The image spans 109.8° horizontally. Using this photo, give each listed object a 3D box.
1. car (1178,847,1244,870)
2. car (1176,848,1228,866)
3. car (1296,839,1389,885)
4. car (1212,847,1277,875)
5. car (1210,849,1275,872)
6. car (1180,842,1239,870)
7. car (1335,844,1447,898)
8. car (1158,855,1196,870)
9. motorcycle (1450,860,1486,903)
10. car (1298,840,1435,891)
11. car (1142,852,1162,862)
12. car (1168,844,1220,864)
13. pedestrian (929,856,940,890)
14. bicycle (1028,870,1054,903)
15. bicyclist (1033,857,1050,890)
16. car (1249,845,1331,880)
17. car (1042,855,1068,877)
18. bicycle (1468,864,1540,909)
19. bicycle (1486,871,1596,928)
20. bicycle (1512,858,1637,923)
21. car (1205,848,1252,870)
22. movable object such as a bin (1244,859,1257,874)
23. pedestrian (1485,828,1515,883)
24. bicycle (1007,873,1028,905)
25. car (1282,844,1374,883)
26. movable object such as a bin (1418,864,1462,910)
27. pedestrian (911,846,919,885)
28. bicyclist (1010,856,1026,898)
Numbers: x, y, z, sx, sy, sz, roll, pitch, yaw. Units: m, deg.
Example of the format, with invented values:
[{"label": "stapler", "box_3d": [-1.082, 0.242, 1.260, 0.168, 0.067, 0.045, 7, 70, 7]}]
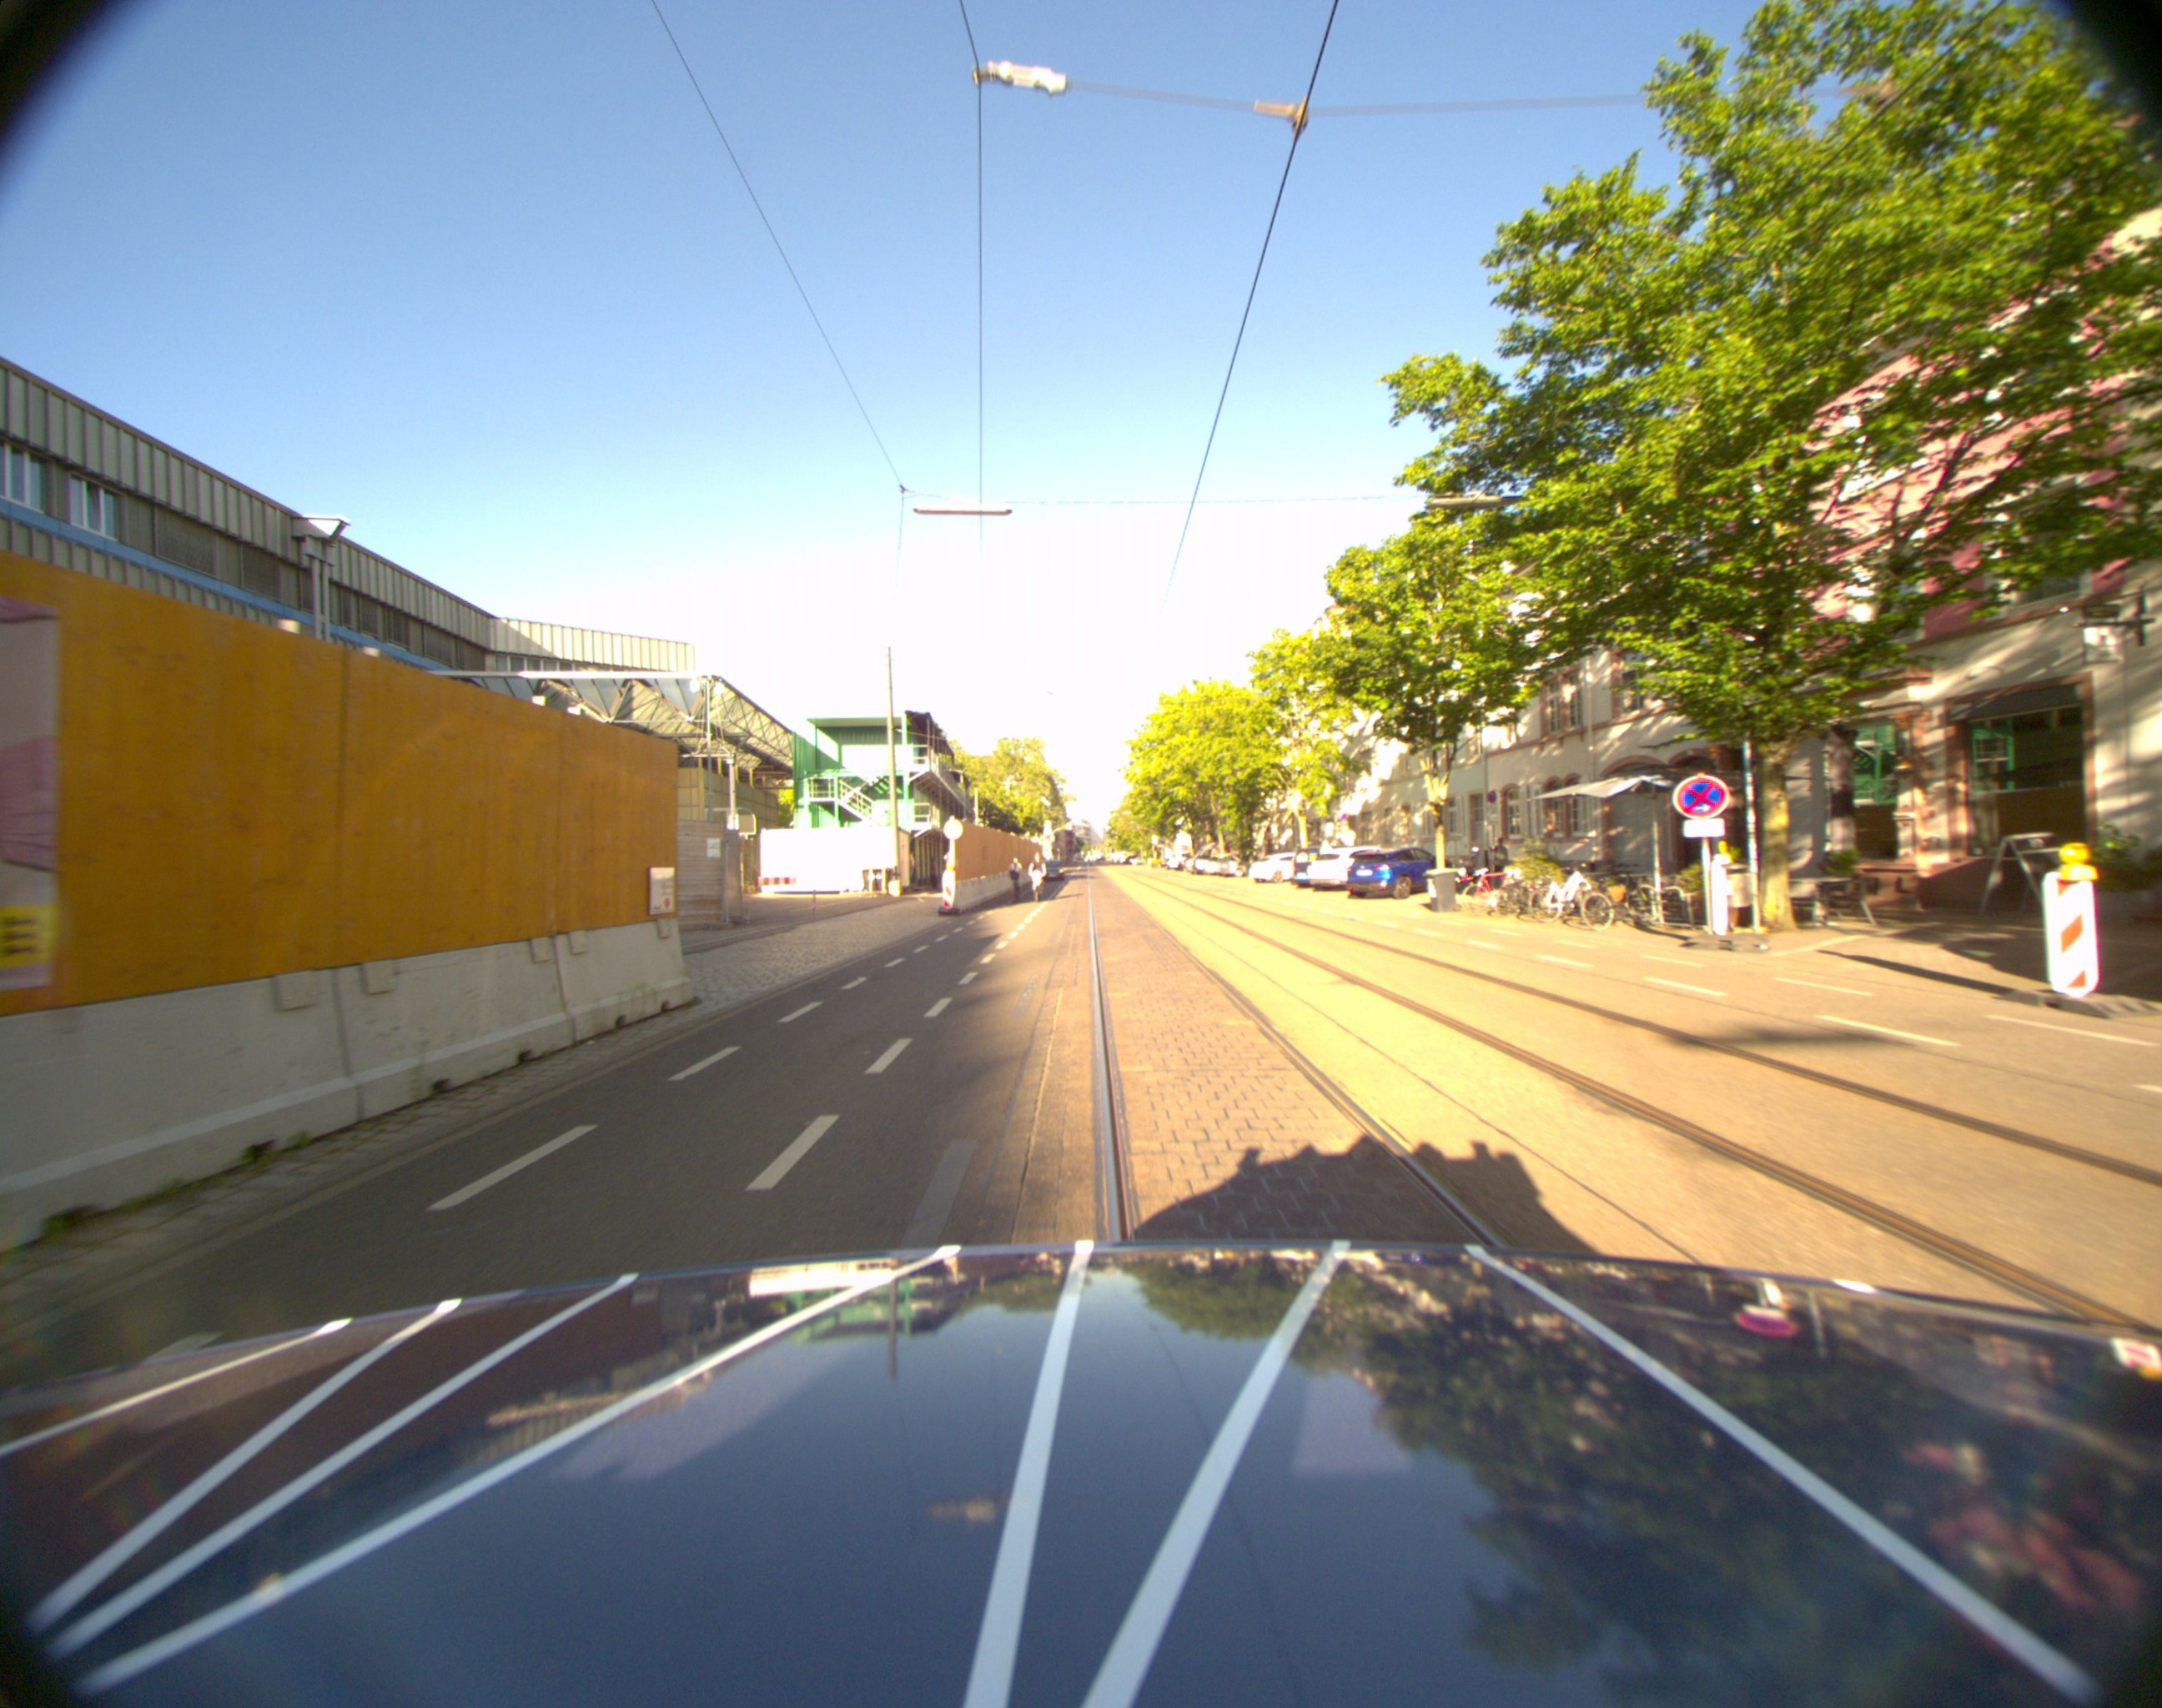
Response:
[{"label": "car", "box_3d": [10.362, 0.361, 60.650, 4.841, 1.714, 2.163, -2, 0, -2]}, {"label": "car", "box_3d": [11.955, 0.307, 75.290, 4.709, 1.567, 1.953, -2, 0, -8]}, {"label": "car", "box_3d": [11.247, 0.317, 32.732, 3.449, 1.832, 1.730, -2, 0, -21]}, {"label": "car", "box_3d": [11.073, 0.467, 51.527, 4.003, 1.667, 1.700, -2, 0, -19]}, {"label": "car", "box_3d": [11.523, 0.443, 54.223, 4.174, 1.543, 1.700, -1, 0, -15]}, {"label": "car", "box_3d": [10.734, 0.171, 63.706, 4.448, 2.105, 2.163, -2, 0, -2]}, {"label": "car", "box_3d": [10.323, 0.506, 25.178, 3.909, 1.599, 1.569, -2, 0, -36]}, {"label": "car", "box_3d": [11.115, 1.008, 87.849, 4.005, 1.549, 1.777, -3, 1, -29]}, {"label": "motorcycle", "box_3d": [12.124, 0.822, 23.747, 0.724, 1.246, 2.605, 0, 0, 33]}, {"label": "car", "box_3d": [11.305, 0.422, 30.050, 4.946, 1.784, 2.204, -2, 0, -25]}, {"label": "car", "box_3d": [12.362, 0.547, 131.957, 3.335, 1.445, 1.497, -2, 2, 7]}, {"label": "car", "box_3d": [11.822, -0.026, 79.379, 4.946, 2.002, 2.071, -1, 0, -23]}, {"label": "pedestrian", "box_3d": [-7.581, 0.968, 39.385, 0.449, 1.748, 0.377, -2, 1, -19]}, {"label": "bicycle", "box_3d": [-1.508, 1.229, 29.192, 0.669, 1.148, 2.276, -2, 0, 4]}, {"label": "bicyclist", "box_3d": [-1.516, 0.751, 29.302, 0.653, 1.230, 0.353, -1, 1, -1]}, {"label": "car", "box_3d": [10.933, 0.420, 39.875, 3.650, 1.521, 1.883, -4, 1, -19]}, {"label": "car", "box_3d": [-1.968, 0.982, 59.020, 1.749, 1.612, 4.171, -1, -2, 1]}, {"label": "bicycle", "box_3d": [10.172, 0.770, 18.276, 1.605, 0.982, 0.388, -3, 0, -10]}, {"label": "bicycle", "box_3d": [9.985, 0.975, 16.536, 1.972, 1.073, 0.568, -4, 0, 3]}, {"label": "bicycle", "box_3d": [9.859, 0.712, 15.208, 2.007, 1.081, 0.567, -6, 0, 3]}, {"label": "car", "box_3d": [11.161, 0.361, 57.462, 3.380, 1.544, 1.381, -1, 0, -30]}, {"label": "movable object such as a bin", "box_3d": [10.742, 0.768, 48.190, 0.623, 0.939, 0.670, 1, 1, -1]}, {"label": "pedestrian", "box_3d": [14.045, 0.050, 25.490, 0.645, 1.827, 0.624, -1, 1, 2]}, {"label": "bicycle", "box_3d": [-2.457, 1.324, 29.462, 0.558, 1.120, 2.276, -2, 0, 0]}, {"label": "car", "box_3d": [11.643, 0.417, 35.808, 4.005, 1.647, 1.806, -2, 0, -27]}, {"label": "movable object such as a bin", "box_3d": [8.873, 0.802, 18.818, 0.685, 1.071, 0.710, -5, 0, 2]}, {"label": "pedestrian", "box_3d": [-8.508, 0.589, 39.015, 0.307, 2.033, 0.352, -2, 1, -5]}, {"label": "bicyclist", "box_3d": [-2.450, 0.899, 29.549, 0.557, 1.603, 0.576, -1, 1, -1]}]
